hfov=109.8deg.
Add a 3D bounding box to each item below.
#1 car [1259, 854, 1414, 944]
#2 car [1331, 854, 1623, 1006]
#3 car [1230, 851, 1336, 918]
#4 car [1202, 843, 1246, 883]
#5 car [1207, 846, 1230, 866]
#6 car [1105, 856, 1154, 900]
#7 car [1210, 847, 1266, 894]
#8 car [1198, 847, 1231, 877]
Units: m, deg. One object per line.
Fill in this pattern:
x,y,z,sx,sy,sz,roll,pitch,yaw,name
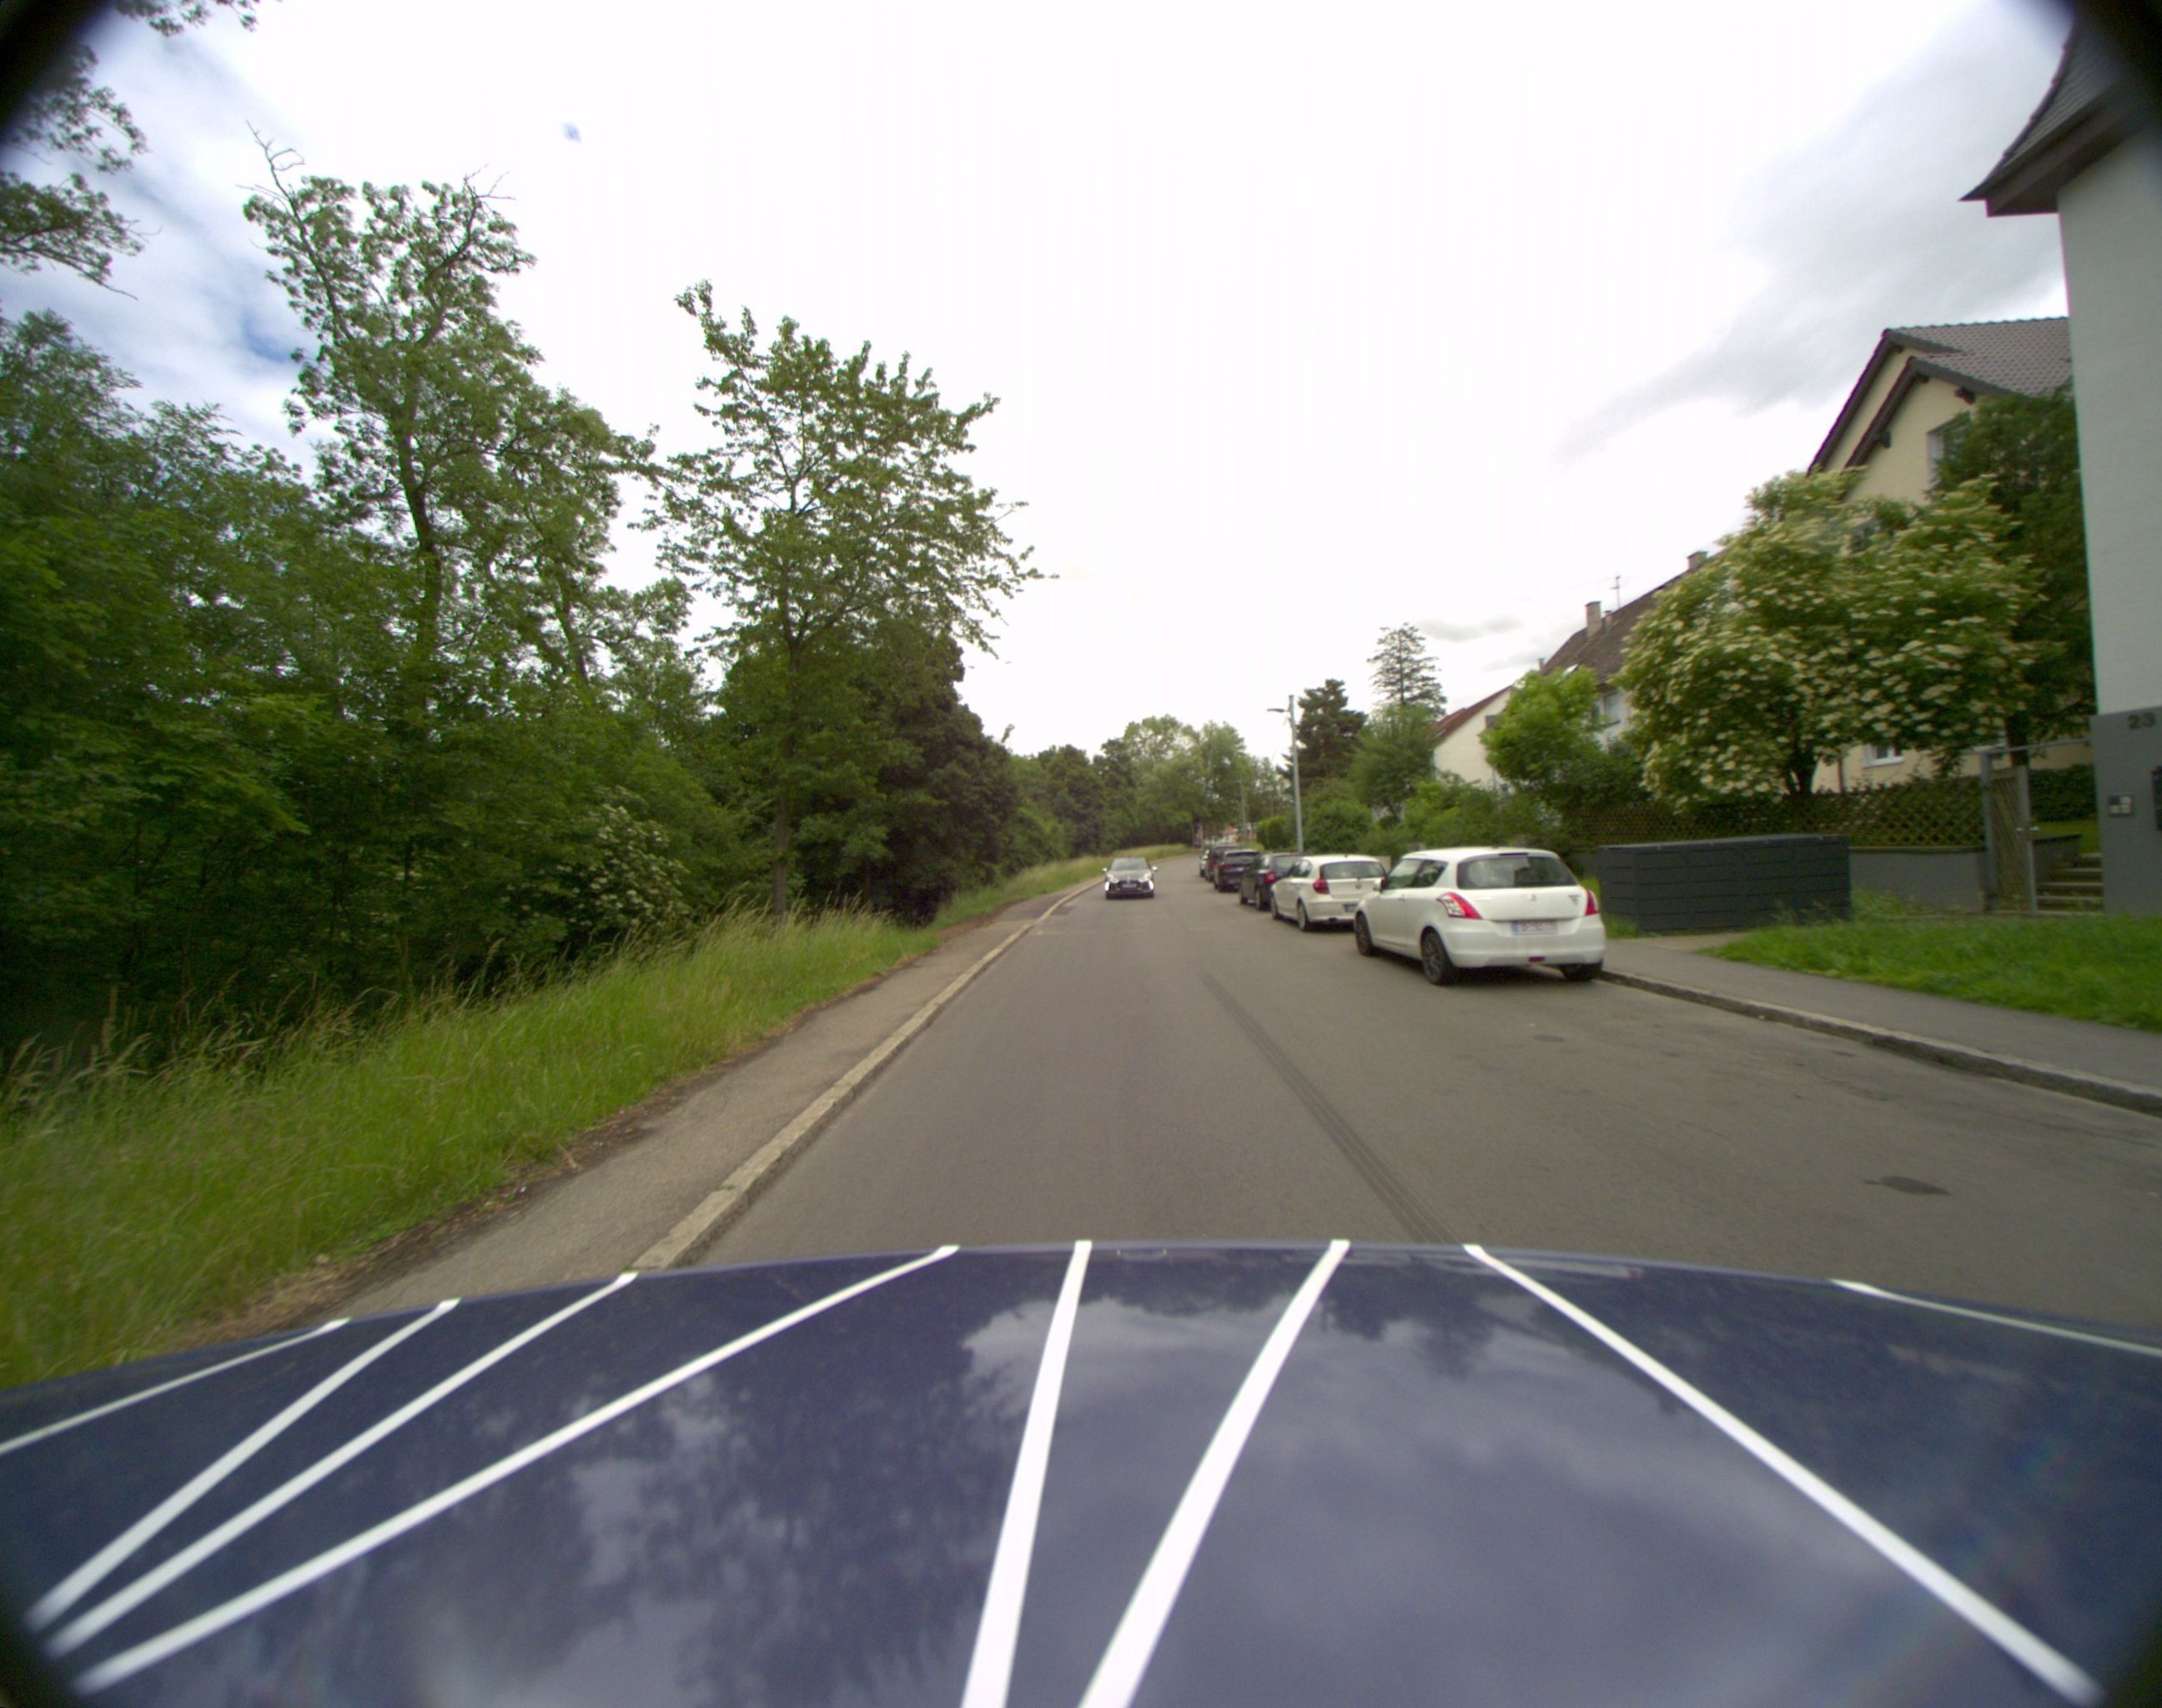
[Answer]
4.923,0.768,15.375,1.728,1.382,4.726,-2,1,3,car
4.603,0.770,9.599,1.646,1.461,4.071,-2,0,2,car
5.323,0.730,20.667,1.731,1.564,4.815,-2,0,2,car
7.054,0.385,37.832,1.800,1.790,4.065,-2,1,7,car
11.077,0.159,61.169,1.735,1.420,3.460,-3,1,11,car
1.836,0.821,27.949,1.619,1.460,4.001,-2,0,5,car
5.987,0.587,29.323,1.665,1.573,4.078,-2,1,6,car
7.527,0.414,43.155,1.665,1.497,4.046,-2,1,8,car
